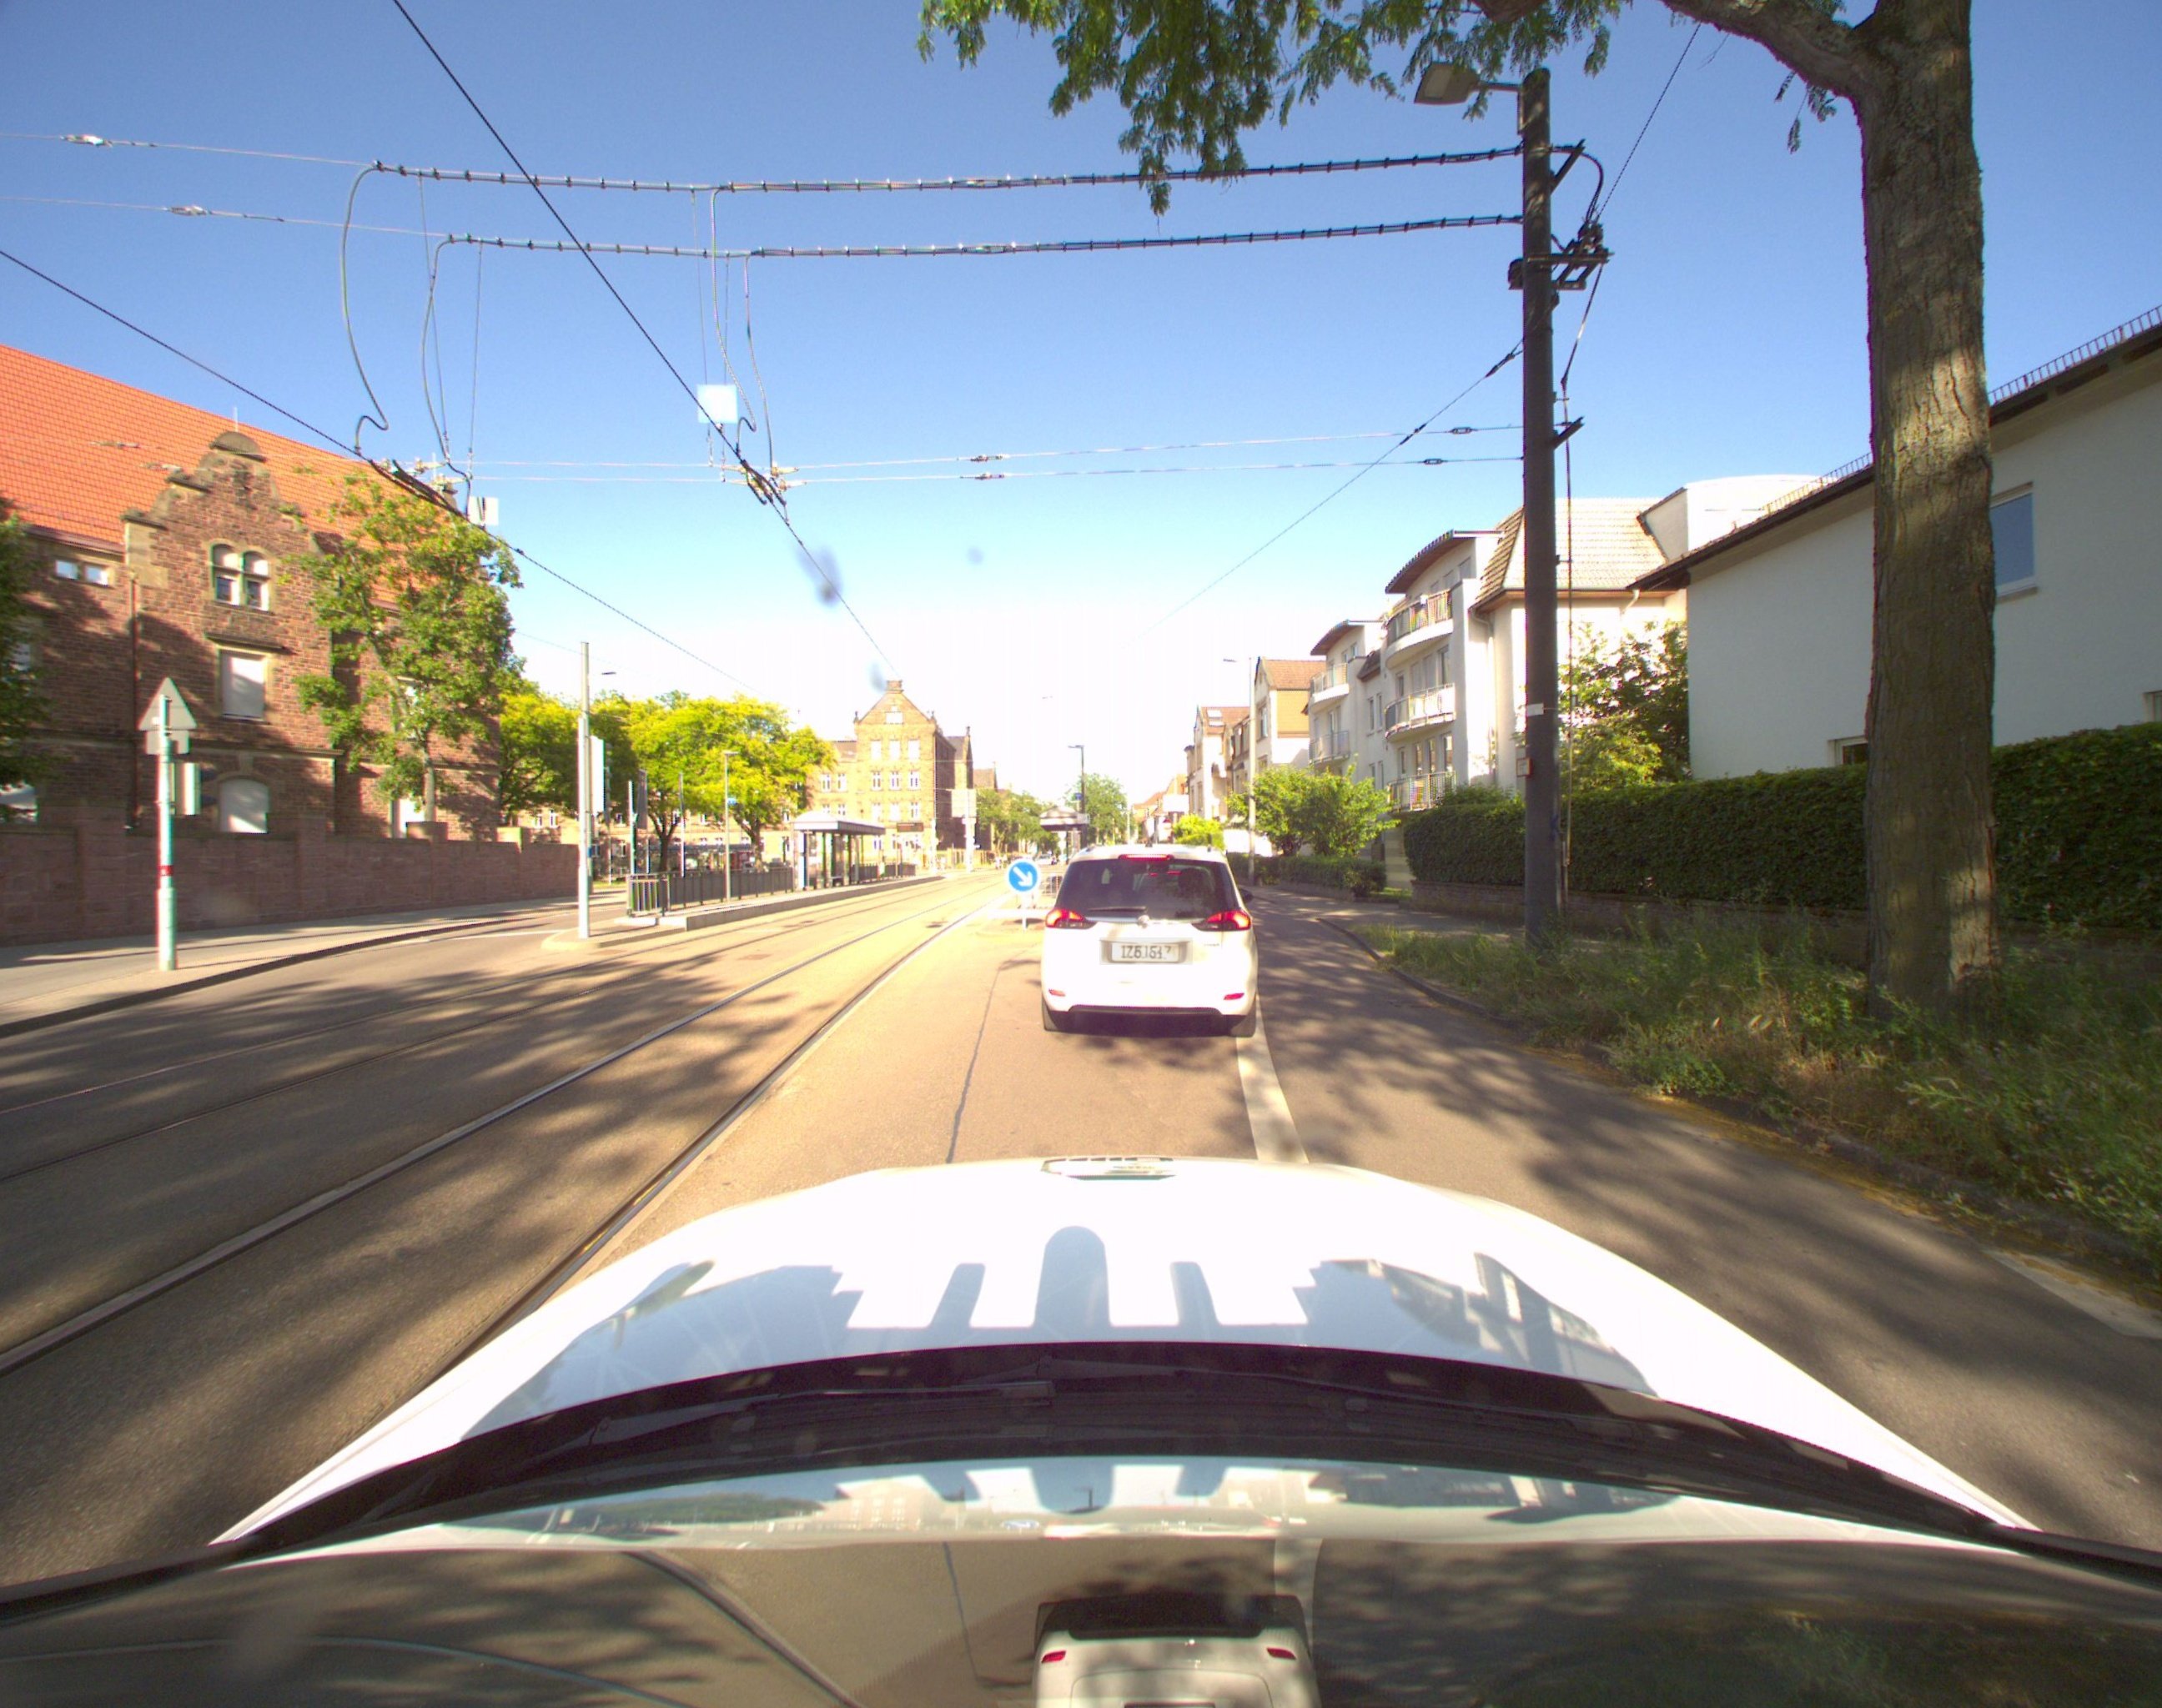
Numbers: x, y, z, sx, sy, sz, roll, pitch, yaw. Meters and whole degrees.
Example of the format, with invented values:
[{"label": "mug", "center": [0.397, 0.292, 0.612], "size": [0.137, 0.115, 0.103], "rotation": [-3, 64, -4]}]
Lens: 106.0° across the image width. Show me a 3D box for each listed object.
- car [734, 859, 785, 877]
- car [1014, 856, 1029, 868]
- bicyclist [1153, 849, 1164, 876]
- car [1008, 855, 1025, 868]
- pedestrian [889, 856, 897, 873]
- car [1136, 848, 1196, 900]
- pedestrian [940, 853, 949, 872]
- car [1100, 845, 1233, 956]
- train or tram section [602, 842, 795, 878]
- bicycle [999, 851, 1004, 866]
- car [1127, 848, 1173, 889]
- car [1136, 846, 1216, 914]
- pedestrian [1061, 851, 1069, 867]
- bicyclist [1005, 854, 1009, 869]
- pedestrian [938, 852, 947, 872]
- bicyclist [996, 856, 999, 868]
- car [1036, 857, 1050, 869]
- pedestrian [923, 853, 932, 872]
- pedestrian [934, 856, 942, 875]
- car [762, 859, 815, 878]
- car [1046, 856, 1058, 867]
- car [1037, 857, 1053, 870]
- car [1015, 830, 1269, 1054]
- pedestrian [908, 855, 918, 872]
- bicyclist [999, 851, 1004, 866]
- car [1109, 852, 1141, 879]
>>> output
[{"label": "car", "center": [-29.655, 1.298, 75.208], "size": [3.976, 1.630, 1.817], "rotation": [0, -1, -2]}, {"label": "car", "center": [-8.330, 1.097, 114.112], "size": [1.740, 1.716, 4.001], "rotation": [0, -1, 2]}, {"label": "bicyclist", "center": [4.840, 0.532, 50.990], "size": [0.613, 1.686, 0.780], "rotation": [-1, 0, 6]}, {"label": "car", "center": [-8.499, 1.012, 107.445], "size": [1.740, 1.716, 4.001], "rotation": [0, -1, 2]}, {"label": "pedestrian", "center": [-20.098, 1.153, 86.958], "size": [0.768, 1.774, 0.717], "rotation": [0, -1, -15]}, {"label": "car", "center": [2.972, 0.648, 28.337], "size": [1.897, 1.661, 4.007], "rotation": [-1, 0, 6]}, {"label": "pedestrian", "center": [-15.101, 0.919, 89.916], "size": [0.798, 2.014, 0.715], "rotation": [0, -1, -22]}, {"label": "car", "center": [1.555, 0.685, 13.860], "size": [1.896, 1.597, 4.010], "rotation": [-1, 0, 9]}, {"label": "train or tram section", "center": [-37.845, 0.558, 81.140], "size": [17.346, 3.154, 3.344], "rotation": [-1, -1, -3]}, {"label": "bicycle", "center": [-10.678, 0.645, 109.577], "size": [0.485, 2.013, 1.406], "rotation": [-1, 0, 2]}, {"label": "car", "center": [2.993, 0.611, 36.181], "size": [1.899, 1.661, 4.003], "rotation": [-1, 0, 3]}, {"label": "car", "center": [2.616, 0.634, 21.681], "size": [1.896, 1.624, 4.010], "rotation": [-1, 0, 9]}, {"label": "pedestrian", "center": [-2.022, 0.640, 100.017], "size": [0.744, 1.901, 0.805], "rotation": [0, -1, -21]}, {"label": "bicyclist", "center": [-10.172, 1.011, 112.030], "size": [0.486, 2.014, 0.502], "rotation": [0, -1, 1]}, {"label": "pedestrian", "center": [-14.552, 0.852, 85.508], "size": [0.796, 2.014, 0.717], "rotation": [0, -1, -15]}, {"label": "bicyclist", "center": [-10.662, 1.040, 103.663], "size": [0.312, 1.444, 0.384], "rotation": [-1, 0, 1]}, {"label": "car", "center": [-5.371, 1.268, 115.543], "size": [1.740, 1.716, 4.001], "rotation": [0, -1, 2]}, {"label": "pedestrian", "center": [-16.775, 0.923, 89.059], "size": [0.800, 2.014, 0.713], "rotation": [0, -1, -32]}, {"label": "pedestrian", "center": [-15.623, 1.280, 88.875], "size": [0.795, 2.014, 1.042], "rotation": [0, -1, -12]}, {"label": "car", "center": [-25.447, 1.224, 70.965], "size": [3.976, 1.630, 1.817], "rotation": [0, -1, -2]}, {"label": "car", "center": [-4.602, 1.160, 129.390], "size": [1.740, 1.716, 4.001], "rotation": [0, -1, 2]}, {"label": "car", "center": [-4.719, 1.236, 107.324], "size": [1.740, 1.716, 4.001], "rotation": [0, -1, 2]}, {"label": "car", "center": [0.758, 0.662, 8.152], "size": [1.896, 1.661, 4.010], "rotation": [-1, 0, 9]}, {"label": "pedestrian", "center": [-18.458, 1.018, 89.667], "size": [0.802, 1.901, 0.747], "rotation": [-1, -1, 16]}, {"label": "bicyclist", "center": [-10.682, 0.644, 109.555], "size": [0.496, 2.013, 0.572], "rotation": [-1, 0, 1]}, {"label": "car", "center": [2.840, 0.744, 53.174], "size": [1.901, 1.661, 4.000], "rotation": [-1, 0, 0]}]
